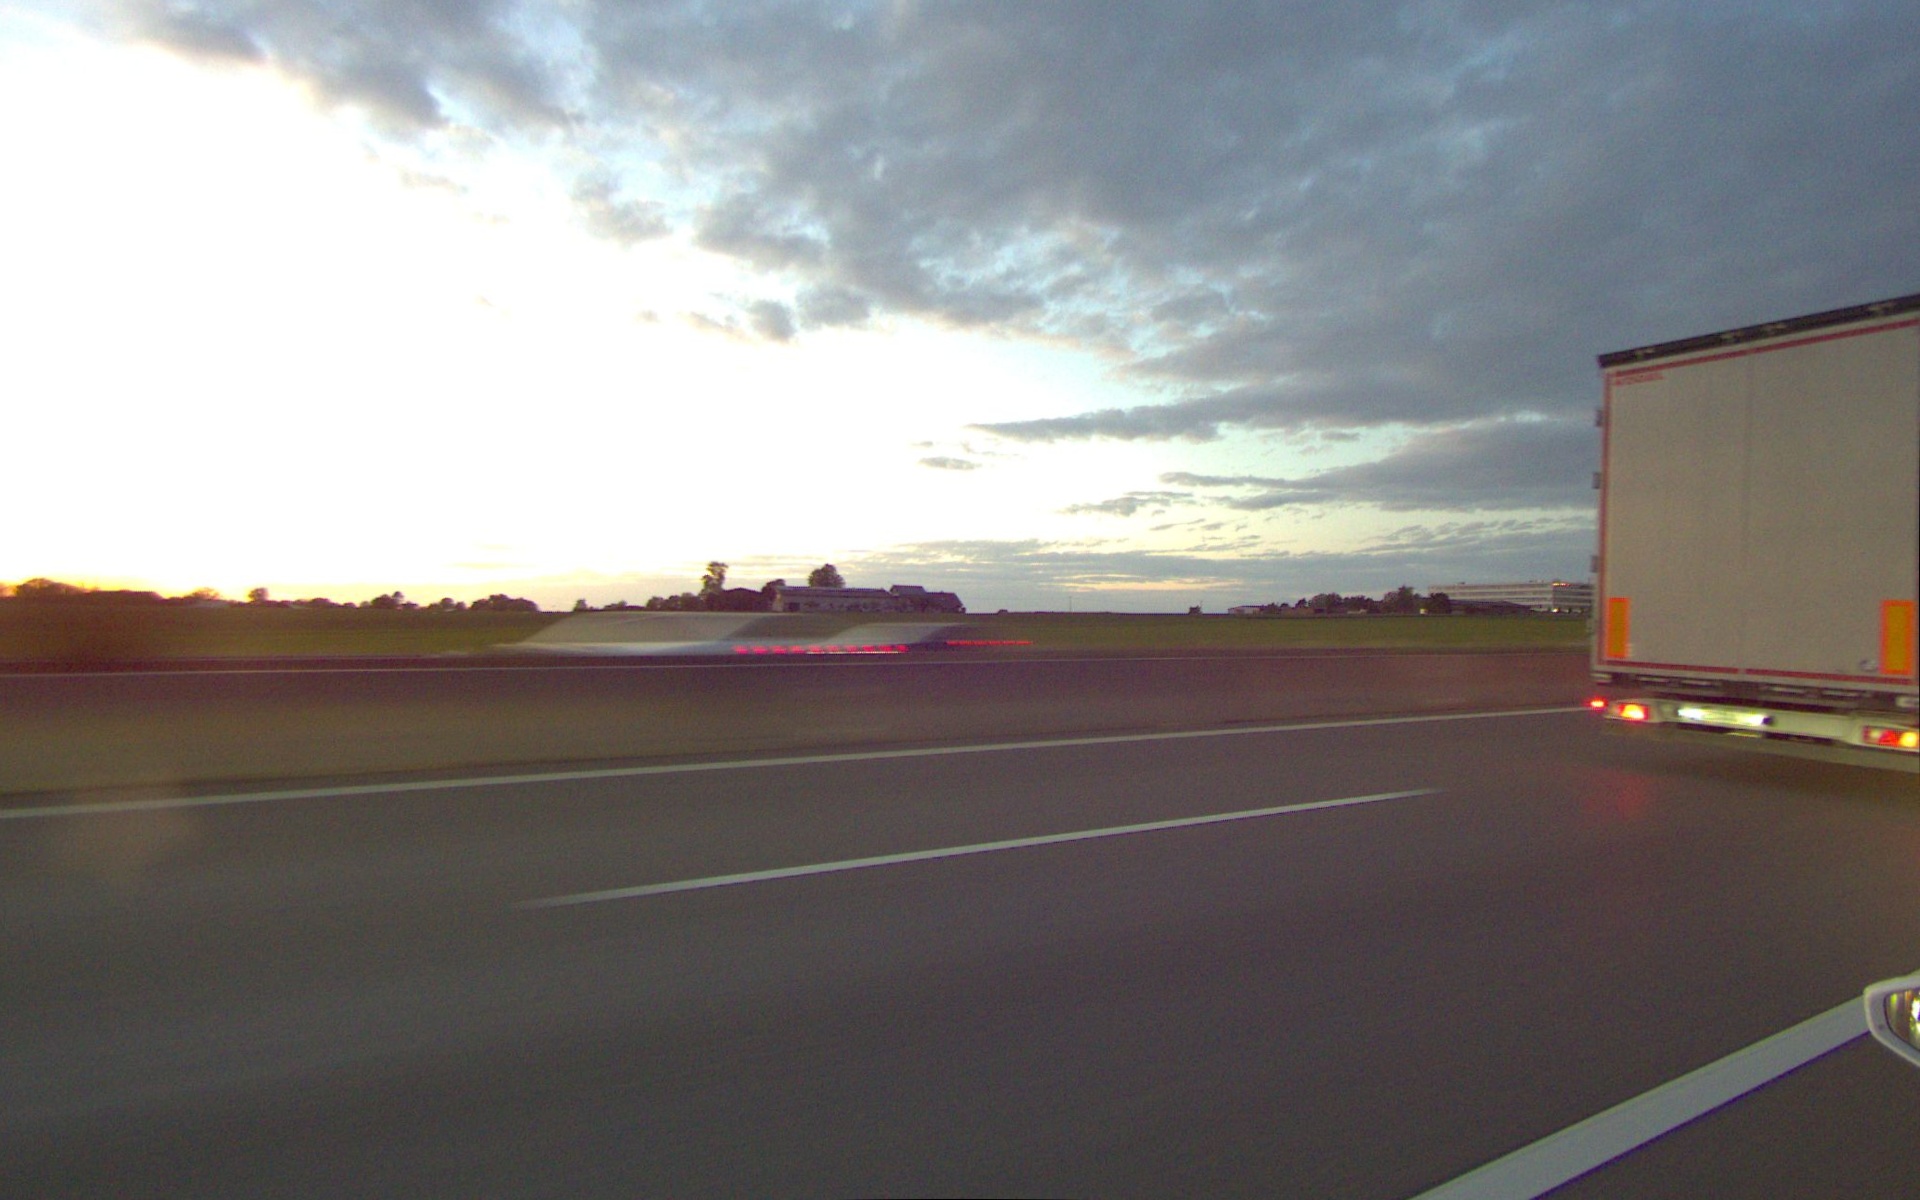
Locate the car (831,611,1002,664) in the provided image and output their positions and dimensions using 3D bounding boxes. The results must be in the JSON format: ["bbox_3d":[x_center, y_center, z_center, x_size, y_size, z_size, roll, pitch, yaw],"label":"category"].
[{"bbox_3d":[-1.059,0.929,25.041,3.954,1.196,1.658,2,0,-31],"label":"car"}]

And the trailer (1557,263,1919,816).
[{"bbox_3d":[12.798,-0.233,12.178,14.350,4.139,2.782,2,-1,-29],"label":"trailer"}]

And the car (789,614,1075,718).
[{"bbox_3d":[-0.412,1.094,17.333,4.716,1.543,1.651,2,0,-30],"label":"car"}]
